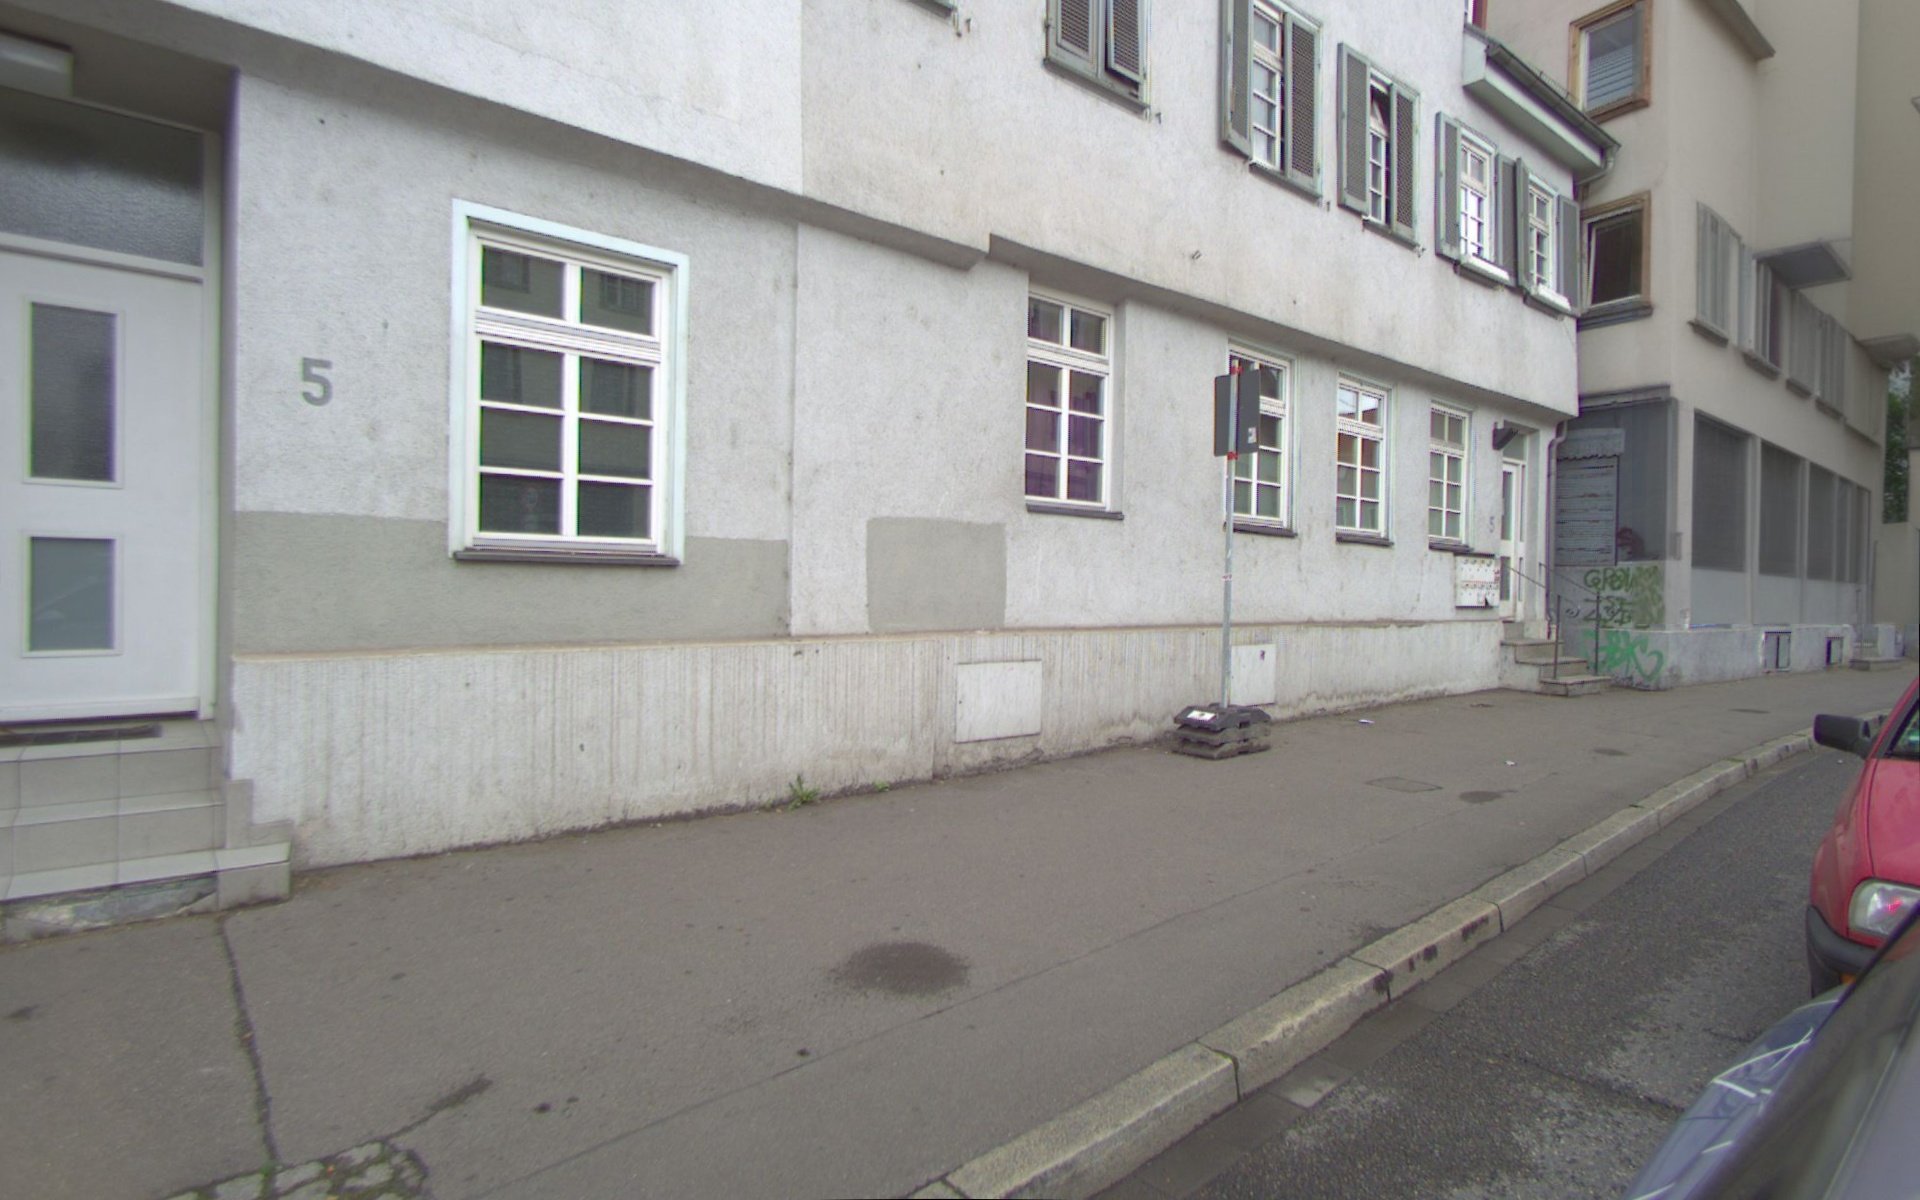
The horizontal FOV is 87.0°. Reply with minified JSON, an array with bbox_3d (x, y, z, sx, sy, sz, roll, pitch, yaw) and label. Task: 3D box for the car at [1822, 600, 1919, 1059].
[{"bbox_3d":[5.035,0.739,4.059,3.930,1.485,1.802,0,-2,-41],"label":"car"}]
